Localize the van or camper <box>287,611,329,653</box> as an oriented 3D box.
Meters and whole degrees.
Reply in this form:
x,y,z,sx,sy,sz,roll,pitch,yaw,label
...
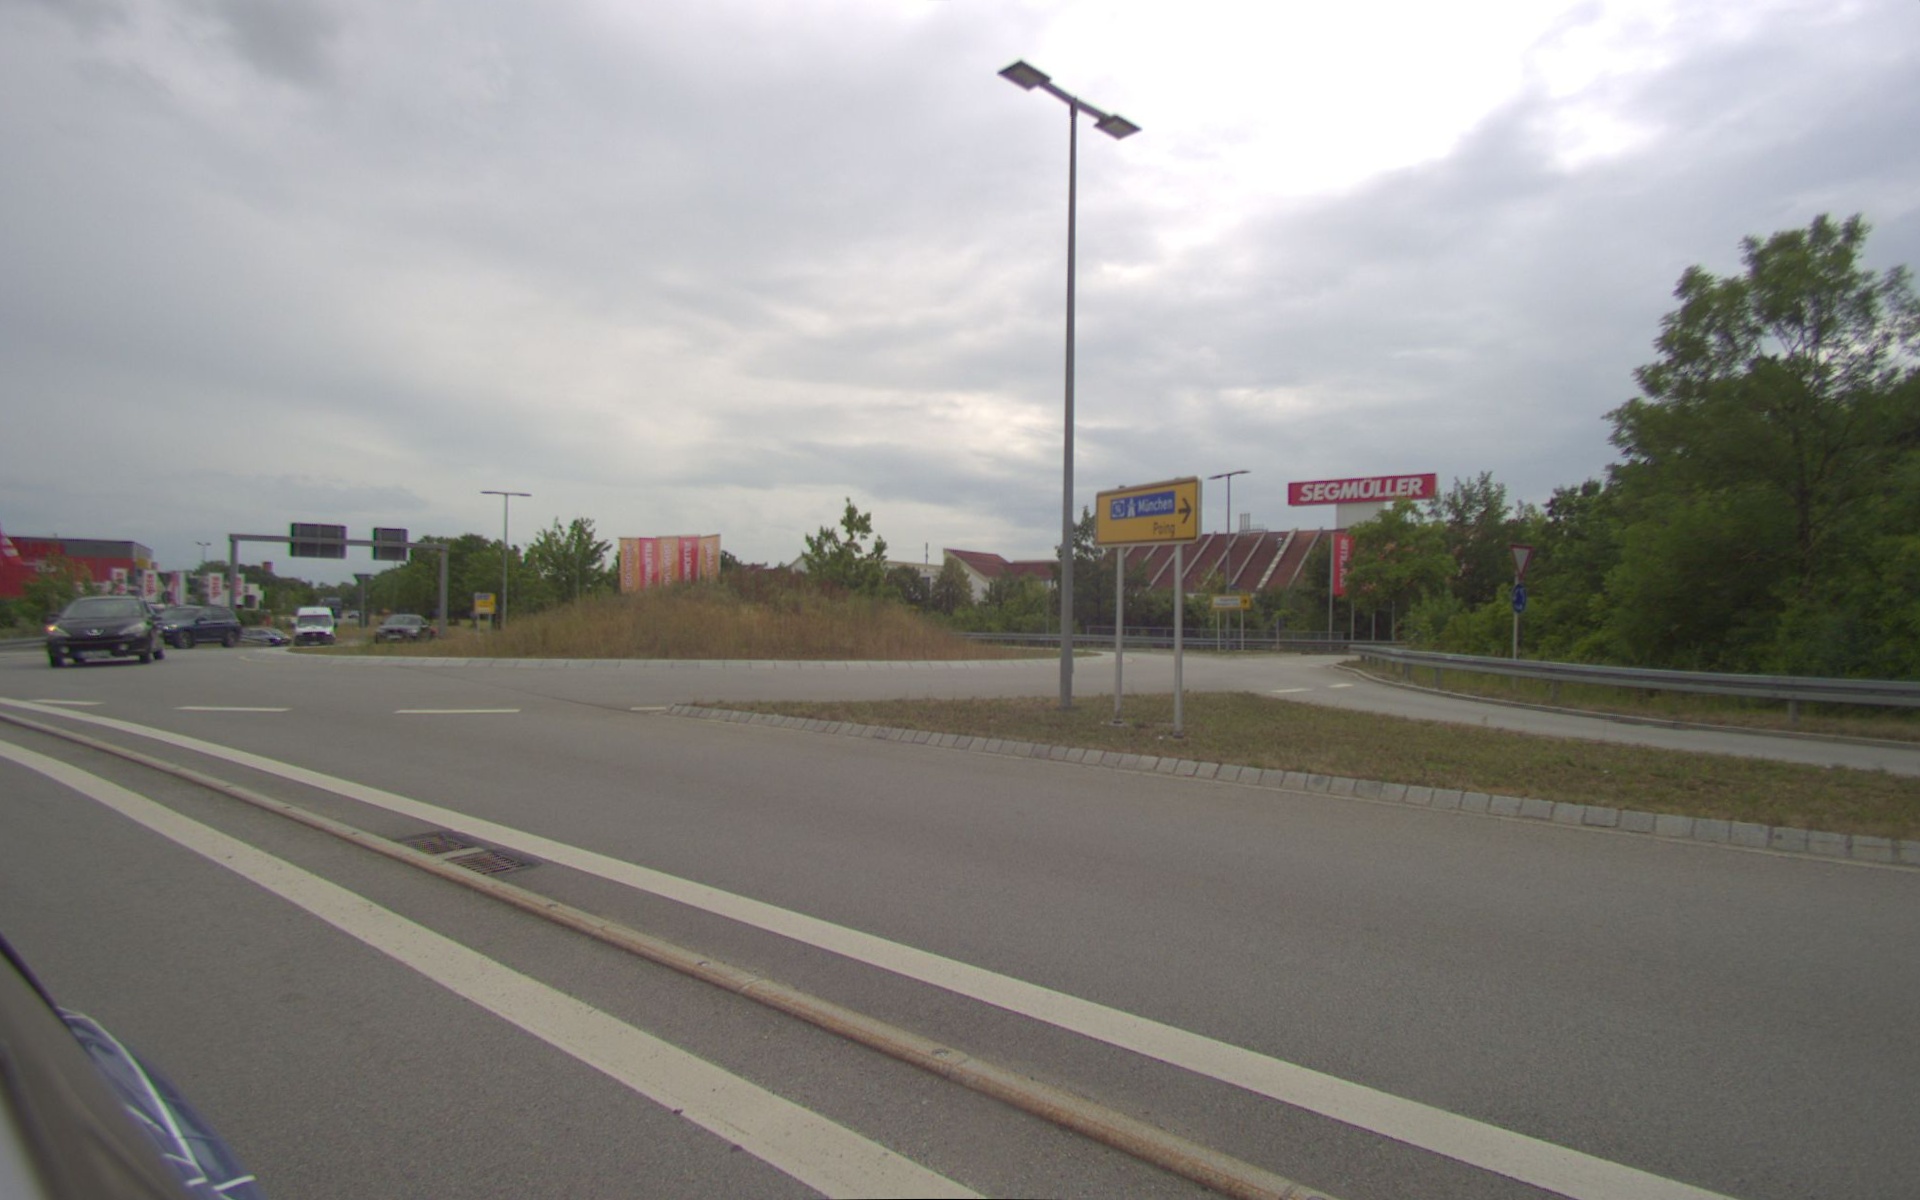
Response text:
x,y,z,sx,sy,sz,roll,pitch,yaw,label
-38.941,1.874,60.497,2.019,2.382,5.557,0,0,-32,van or camper

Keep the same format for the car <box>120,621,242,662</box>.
x,y,z,sx,sy,sz,roll,pitch,yaw,label
-30.514,1.587,39.834,1.831,1.422,4.565,0,0,-8,car

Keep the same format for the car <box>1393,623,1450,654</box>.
x,y,z,sx,sy,sz,roll,pitch,yaw,label
23.899,1.966,52.359,3.262,1.520,1.566,1,-1,-43,car

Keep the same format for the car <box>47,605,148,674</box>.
x,y,z,sx,sy,sz,roll,pitch,yaw,label
-18.768,0.809,21.974,1.557,1.364,3.828,0,-1,-42,car

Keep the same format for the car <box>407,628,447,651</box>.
x,y,z,sx,sy,sz,roll,pitch,yaw,label
-46.321,3.415,87.948,2.072,1.804,5.060,2,-1,-40,car

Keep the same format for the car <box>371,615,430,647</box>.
x,y,z,sx,sy,sz,roll,pitch,yaw,label
-24.370,1.332,44.204,1.553,1.278,3.324,0,0,-16,car
